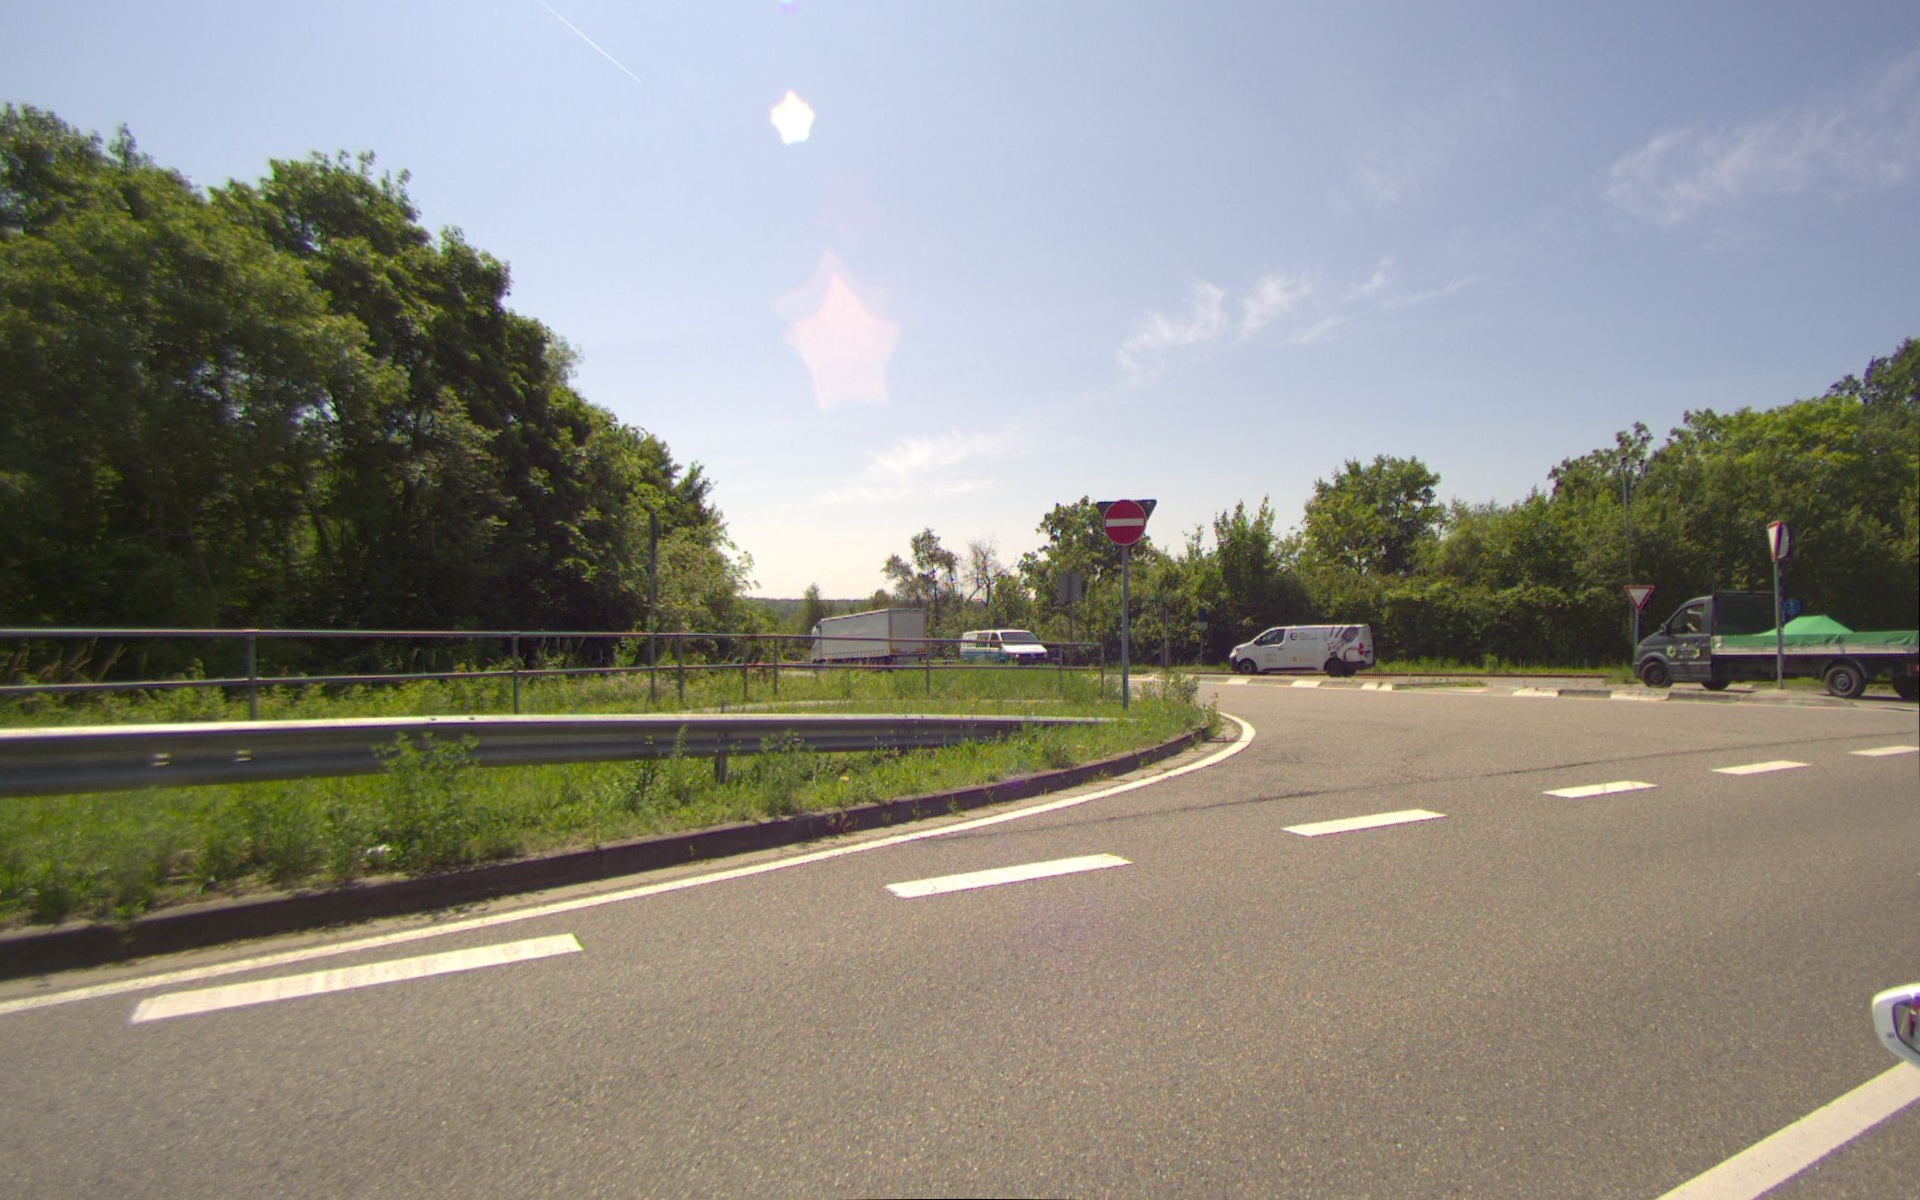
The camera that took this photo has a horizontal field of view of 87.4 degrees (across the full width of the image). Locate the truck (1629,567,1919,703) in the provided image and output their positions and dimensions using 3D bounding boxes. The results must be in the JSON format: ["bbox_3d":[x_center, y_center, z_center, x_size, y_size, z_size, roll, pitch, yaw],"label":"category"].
[{"bbox_3d":[18.800,0.808,22.701,2.108,2.598,6.627,1,-2,-11],"label":"truck"}]

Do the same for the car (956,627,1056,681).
[{"bbox_3d":[1.762,2.212,40.622,1.972,2.054,5.160,1,-4,-24],"label":"car"}]

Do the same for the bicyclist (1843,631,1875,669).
[{"bbox_3d":[32.913,1.821,36.779,0.597,1.381,0.690,0,0,5],"label":"bicyclist"}]

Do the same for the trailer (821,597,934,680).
[{"bbox_3d":[-5.913,2.877,68.174,2.959,4.328,13.718,1,-8,-25],"label":"trailer"}]

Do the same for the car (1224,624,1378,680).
[{"bbox_3d":[12.757,1.920,37.689,5.107,1.949,2.011,-2,-2,33],"label":"car"}]

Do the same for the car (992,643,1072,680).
[{"bbox_3d":[3.496,2.980,49.299,1.754,1.617,3.886,1,0,-38],"label":"car"}]

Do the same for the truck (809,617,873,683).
[{"bbox_3d":[-8.890,3.765,74.410,2.959,4.328,5.896,1,-7,-25],"label":"truck"}]
